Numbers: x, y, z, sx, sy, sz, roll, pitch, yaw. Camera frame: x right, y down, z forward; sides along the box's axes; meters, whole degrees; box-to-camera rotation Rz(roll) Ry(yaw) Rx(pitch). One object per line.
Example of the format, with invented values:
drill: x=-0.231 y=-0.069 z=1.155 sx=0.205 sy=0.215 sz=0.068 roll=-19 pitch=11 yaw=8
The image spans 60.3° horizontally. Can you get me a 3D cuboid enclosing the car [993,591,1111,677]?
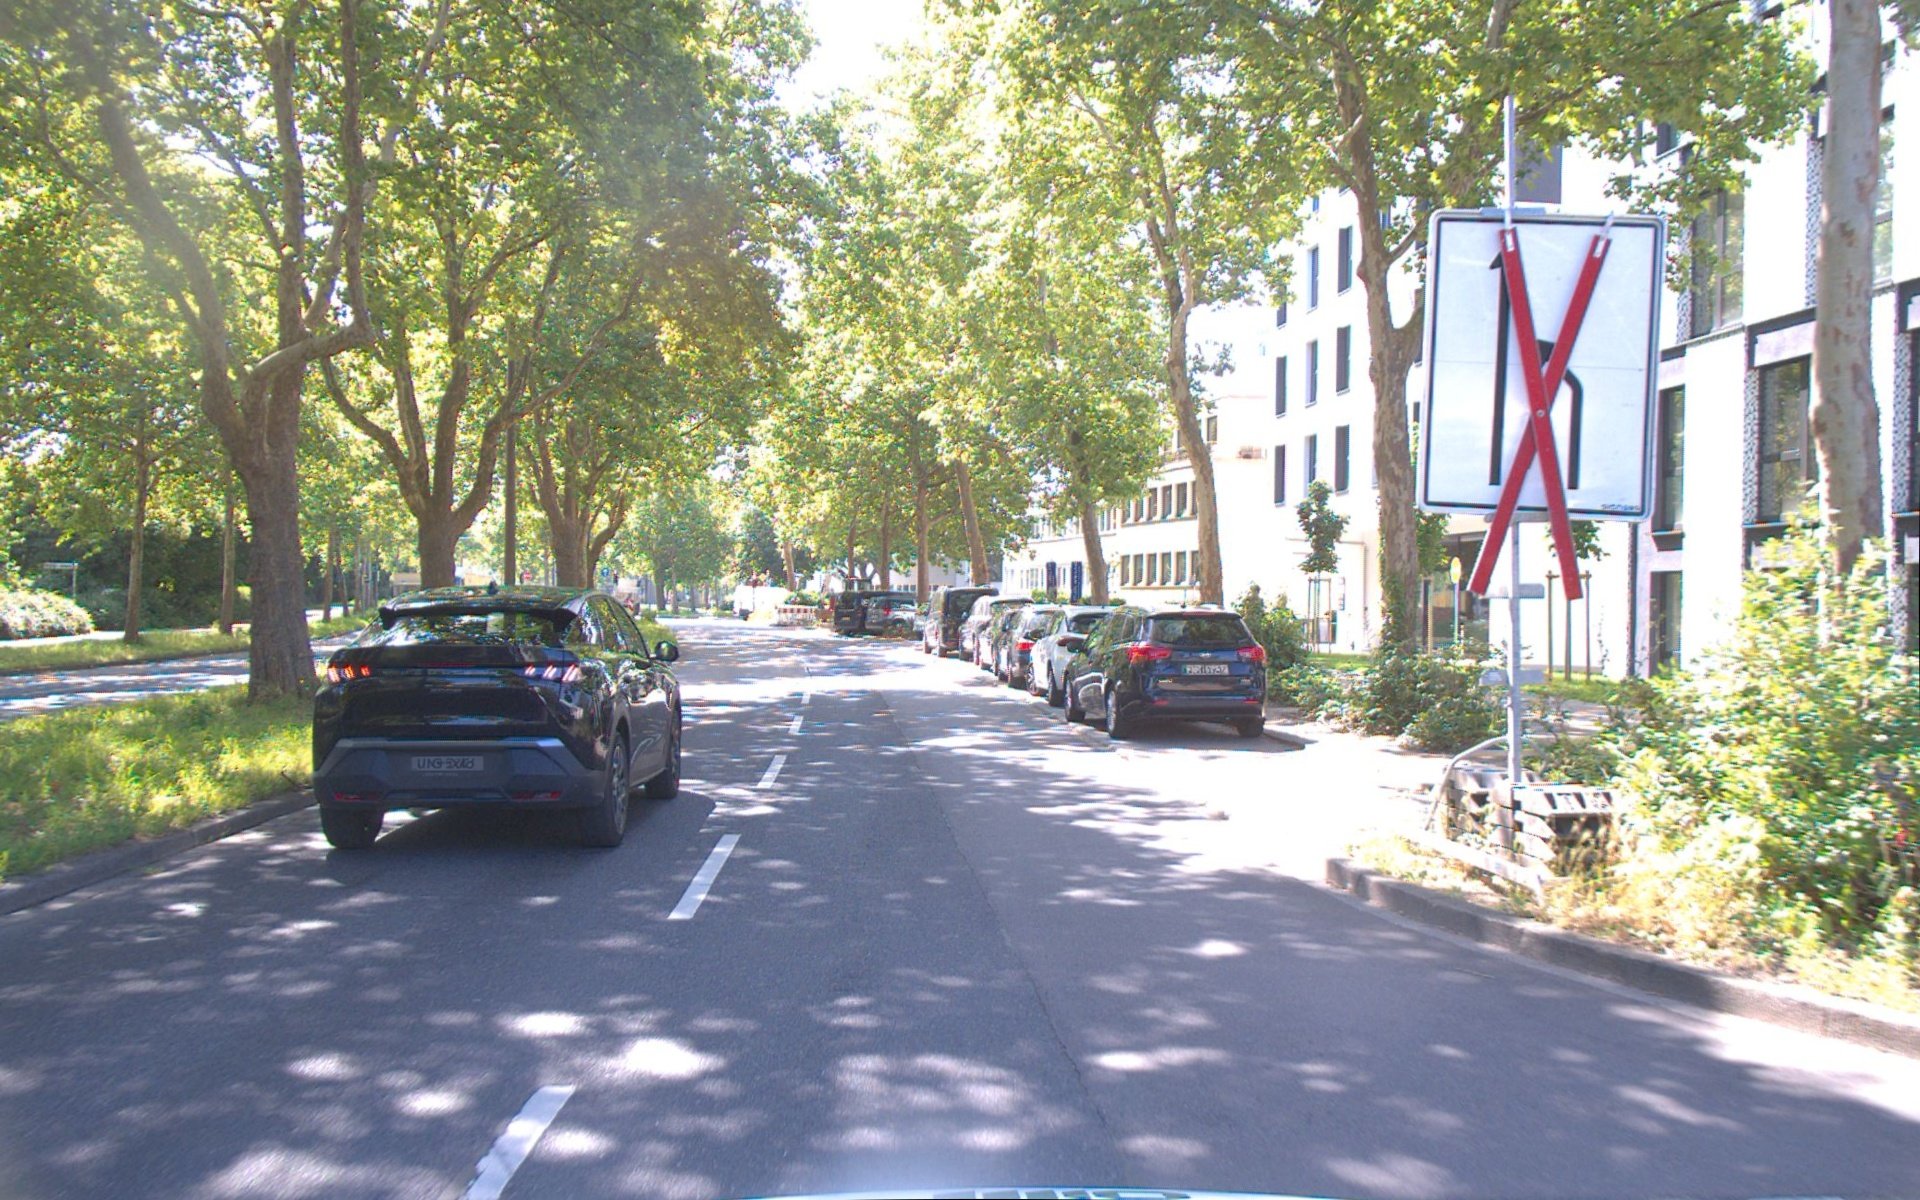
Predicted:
car: x=1.638 y=0.609 z=30.873 sx=1.673 sy=1.480 sz=4.652 roll=0 pitch=0 yaw=-3

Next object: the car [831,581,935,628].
car: x=-3.258 y=0.201 z=69.866 sx=4.049 sy=1.913 sz=1.770 roll=1 pitch=-1 yaw=-26

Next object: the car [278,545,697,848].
car: x=-3.069 y=0.569 z=11.737 sx=1.834 sy=1.726 sz=4.433 roll=0 pitch=-1 yaw=-2

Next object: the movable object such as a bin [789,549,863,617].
movable object such as a bin: x=-6.663 y=-0.800 z=82.062 sx=2.307 sy=3.298 sz=3.391 roll=1 pitch=-1 yaw=-33

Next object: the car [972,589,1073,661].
car: x=1.333 y=0.549 z=37.066 sx=1.674 sy=1.514 sz=4.479 roll=0 pitch=0 yaw=-6

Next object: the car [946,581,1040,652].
car: x=0.789 y=0.410 z=42.277 sx=1.675 sy=1.699 sz=4.525 roll=0 pitch=0 yaw=-8

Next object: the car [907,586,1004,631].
car: x=-0.185 y=0.330 z=63.825 sx=3.489 sy=1.669 sz=1.654 roll=1 pitch=-1 yaw=-11

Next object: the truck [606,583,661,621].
truck: x=-33.185 y=0.205 z=168.327 sx=5.425 sy=3.743 sz=1.995 roll=1 pitch=-1 yaw=-10

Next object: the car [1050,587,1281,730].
car: x=2.356 y=0.640 z=20.177 sx=1.674 sy=1.514 sz=4.711 roll=-1 pitch=0 yaw=-7

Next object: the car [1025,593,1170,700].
car: x=2.047 y=0.674 z=25.631 sx=1.673 sy=1.514 sz=4.098 roll=0 pitch=0 yaw=-3

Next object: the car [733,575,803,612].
car: x=-13.903 y=-0.442 z=119.705 sx=4.894 sy=2.587 sz=1.994 roll=1 pitch=-1 yaw=-12

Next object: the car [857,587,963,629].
car: x=-2.058 y=0.334 z=68.150 sx=4.046 sy=1.662 sz=1.699 roll=1 pitch=-1 yaw=-24

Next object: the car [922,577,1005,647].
car: x=0.047 y=0.347 z=47.056 sx=1.675 sy=1.874 sz=4.717 roll=0 pitch=0 yaw=-8

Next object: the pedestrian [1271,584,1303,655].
pedestrian: x=7.467 y=0.452 z=37.797 sx=0.601 sy=1.609 sz=0.569 roll=0 pitch=-1 yaw=-4

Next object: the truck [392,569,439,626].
truck: x=-35.452 y=-0.181 z=107.840 sx=2.411 sy=3.510 sz=7.068 roll=2 pitch=0 yaw=-16

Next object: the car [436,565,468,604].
car: x=-48.487 y=-1.476 z=158.038 sx=2.409 sy=3.510 sz=7.073 roll=2 pitch=0 yaw=-14

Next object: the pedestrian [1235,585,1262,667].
pedestrian: x=6.556 y=0.586 z=37.641 sx=0.466 sy=1.840 sz=0.636 roll=0 pitch=-1 yaw=-4
